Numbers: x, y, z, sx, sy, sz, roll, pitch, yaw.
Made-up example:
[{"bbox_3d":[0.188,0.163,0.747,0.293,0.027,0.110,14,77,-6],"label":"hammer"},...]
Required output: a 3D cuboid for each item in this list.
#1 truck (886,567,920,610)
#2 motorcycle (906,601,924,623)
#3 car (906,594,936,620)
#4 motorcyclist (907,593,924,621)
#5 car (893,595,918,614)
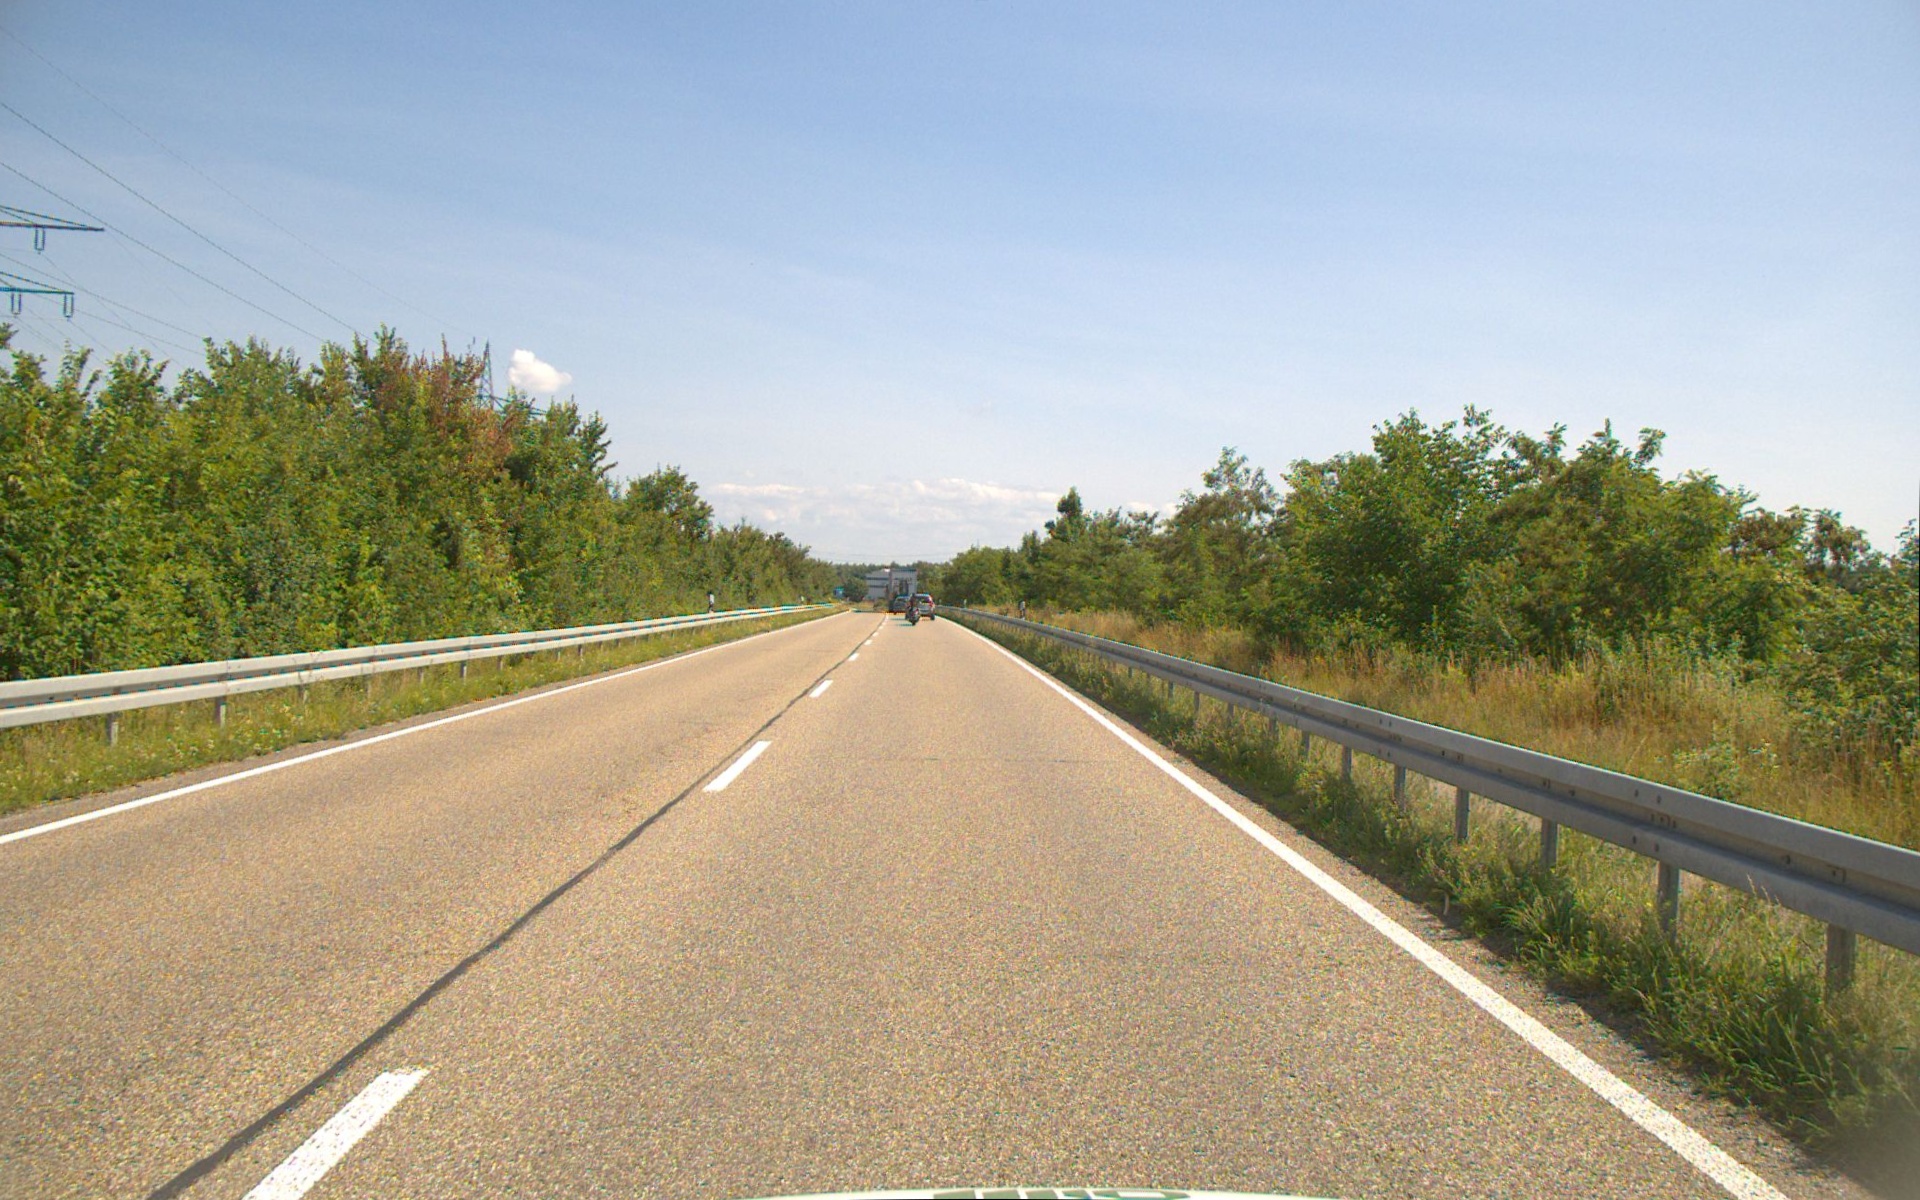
[{"bbox_3d":[-5.652,-1.161,162.066,3.177,4.048,9.439,1,1,-2],"label":"truck"},{"bbox_3d":[-2.204,0.596,81.885,0.764,0.992,2.362,1,1,2],"label":"motorcycle"},{"bbox_3d":[-2.422,0.400,102.095,1.789,1.476,3.999,1,1,-2],"label":"car"},{"bbox_3d":[-2.203,0.337,81.902,0.764,1.348,0.813,1,1,1],"label":"motorcyclist"},{"bbox_3d":[-4.468,0.337,135.337,1.827,1.445,4.001,1,1,1],"label":"car"}]
